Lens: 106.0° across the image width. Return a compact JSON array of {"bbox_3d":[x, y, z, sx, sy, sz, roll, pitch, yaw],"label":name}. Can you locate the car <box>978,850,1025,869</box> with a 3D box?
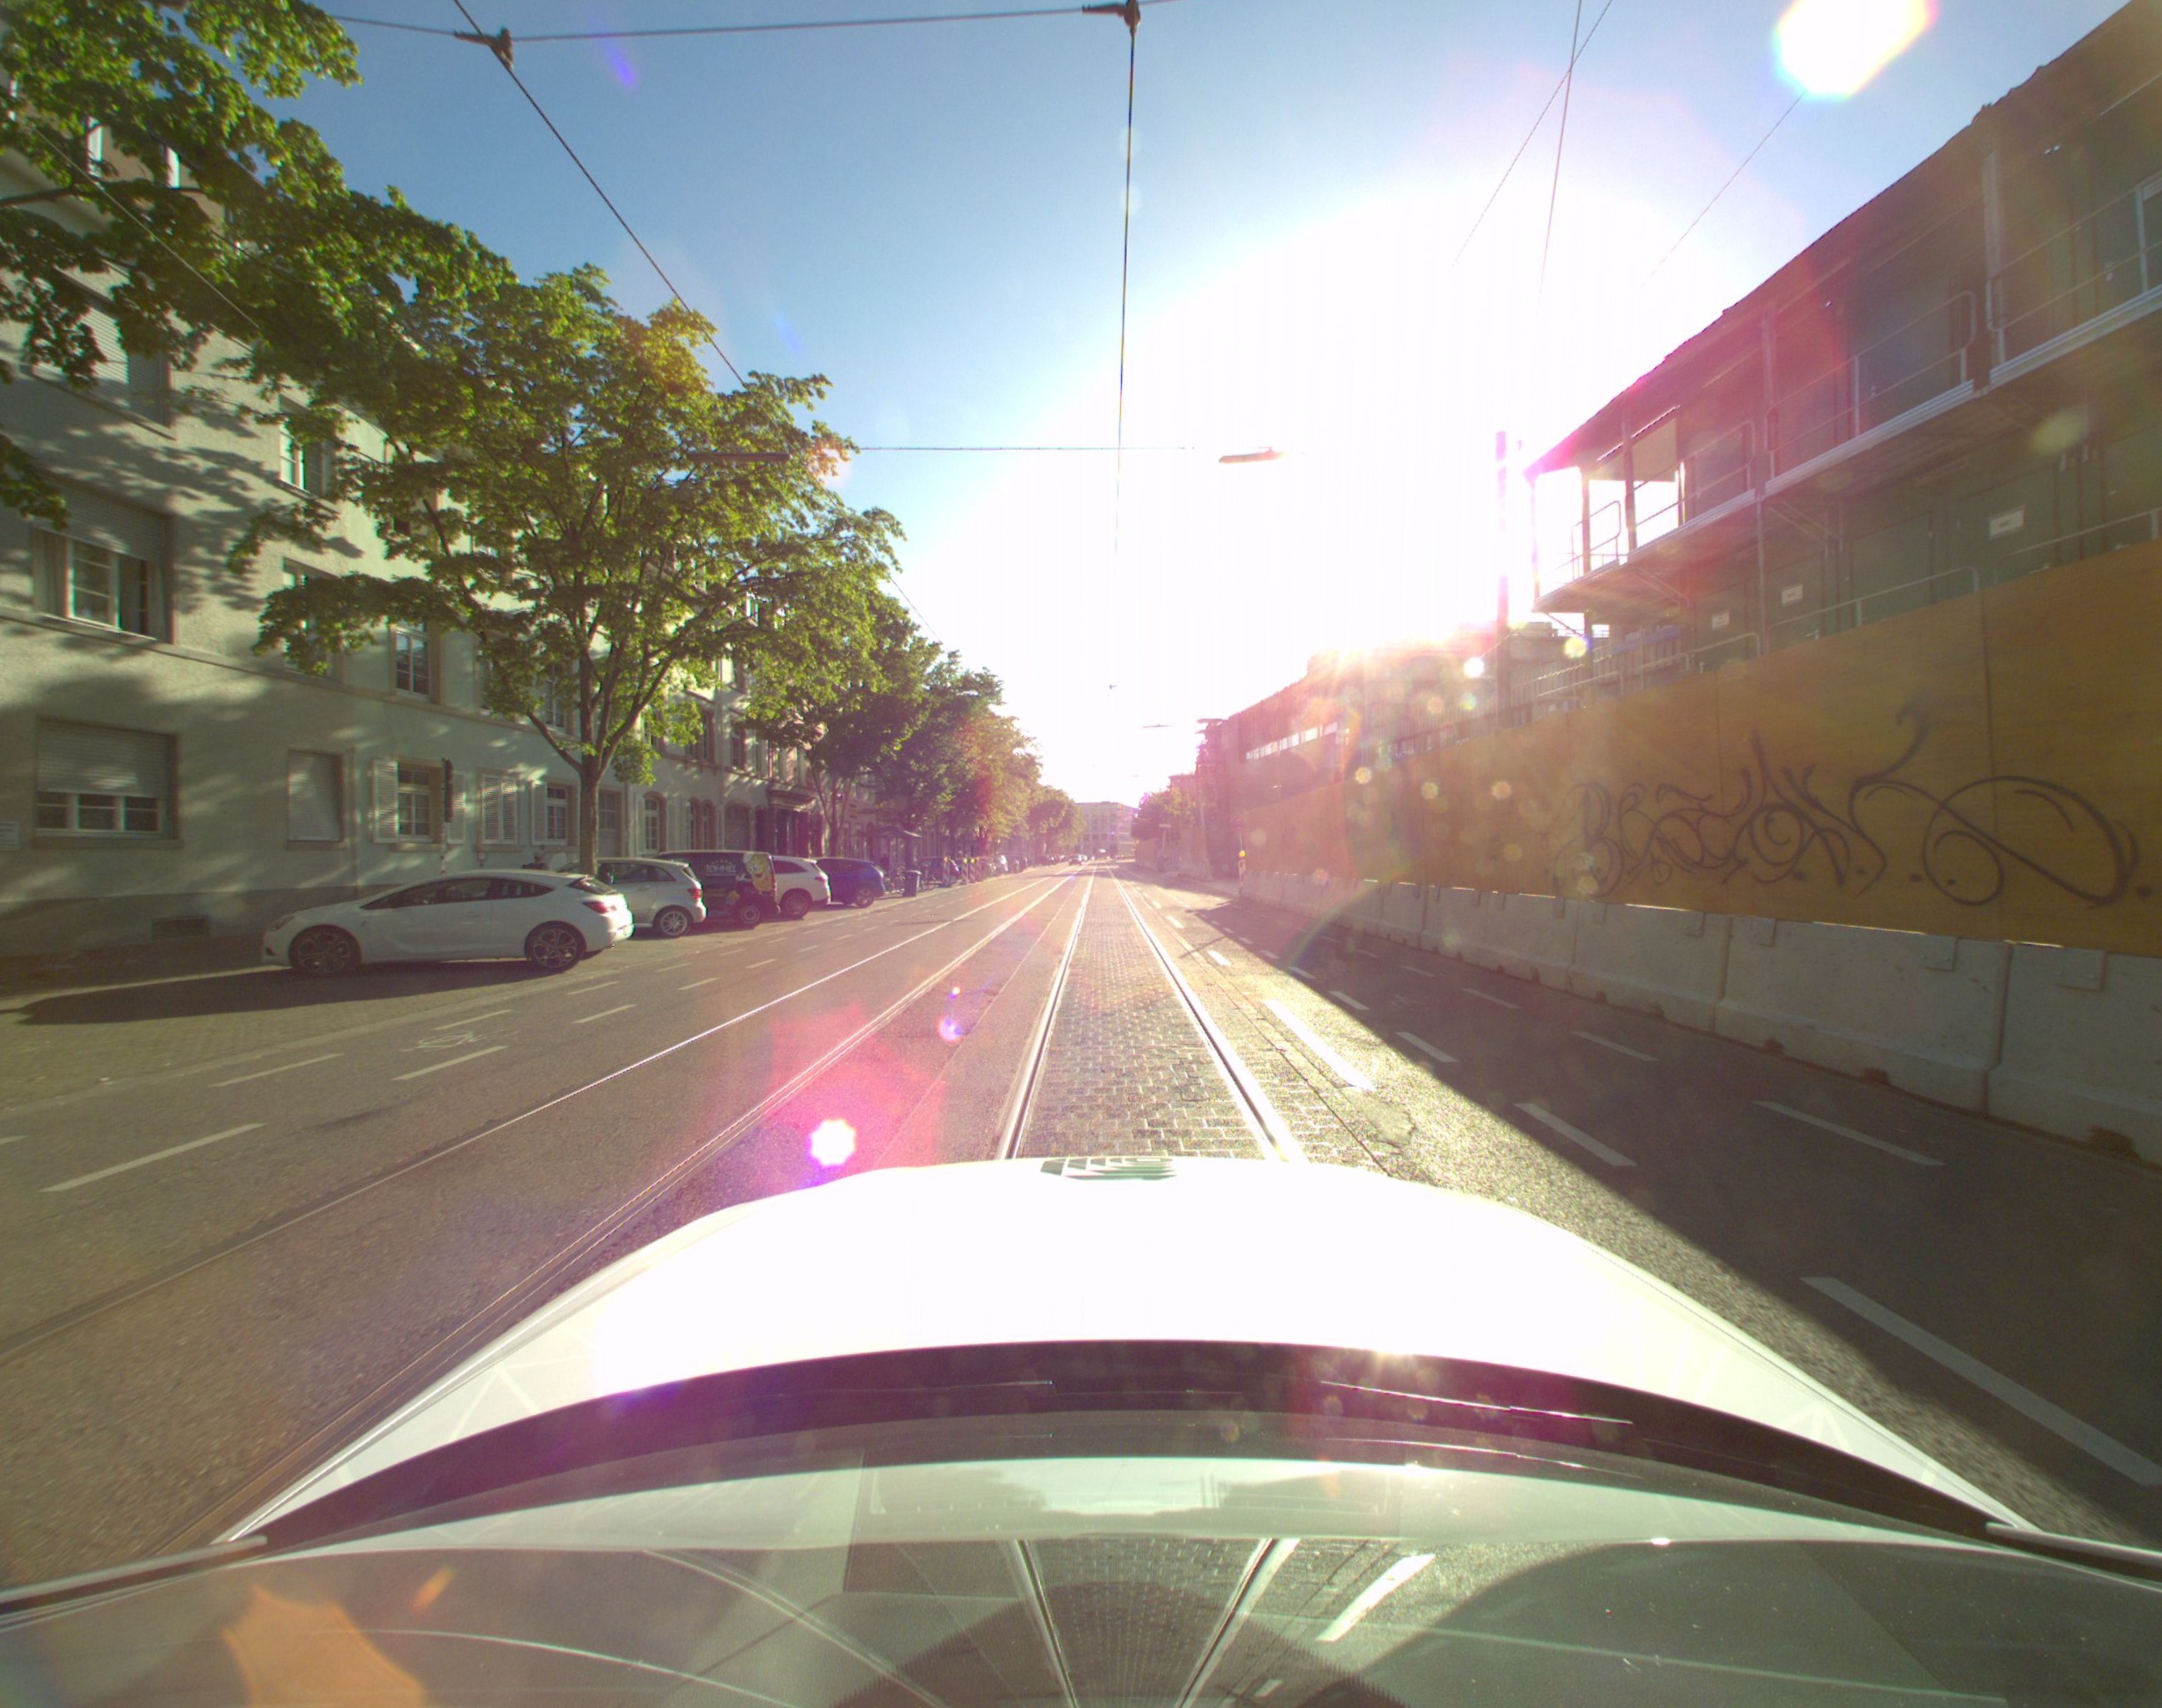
[{"bbox_3d":[-7.694,0.538,78.749,4.249,1.685,1.799,-1,0,-20],"label":"car"}]

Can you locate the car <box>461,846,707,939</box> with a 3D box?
[{"bbox_3d":[-9.866,0.749,16.511,4.010,1.656,1.794,2,0,-29],"label":"car"}]

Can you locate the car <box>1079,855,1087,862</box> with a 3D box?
[{"bbox_3d":[0.404,1.002,182.612,1.703,1.436,4.173,-1,0,2],"label":"car"}]

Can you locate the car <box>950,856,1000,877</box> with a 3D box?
[{"bbox_3d":[-7.982,0.944,61.310,3.381,1.493,1.599,1,0,-27],"label":"car"}]

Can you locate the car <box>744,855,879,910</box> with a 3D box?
[{"bbox_3d":[-8.836,0.896,26.846,3.919,1.609,1.556,-2,0,-36],"label":"car"}]

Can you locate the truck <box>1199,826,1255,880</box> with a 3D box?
[{"bbox_3d":[8.791,-0.059,49.498,2.509,2.909,5.511,-3,0,3],"label":"truck"}]

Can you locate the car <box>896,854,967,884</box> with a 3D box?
[{"bbox_3d":[-8.477,0.849,46.193,3.631,1.553,1.655,1,1,-25],"label":"car"}]

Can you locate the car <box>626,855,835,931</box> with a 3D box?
[{"bbox_3d":[-9.471,0.957,22.101,4.958,1.794,2.187,0,0,-32],"label":"car"}]

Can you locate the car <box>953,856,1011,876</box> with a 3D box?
[{"bbox_3d":[-7.791,0.923,64.209,4.124,1.512,1.826,1,0,-26],"label":"car"}]

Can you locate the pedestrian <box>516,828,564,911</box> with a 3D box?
[{"bbox_3d":[-12.259,0.350,18.467,0.641,1.838,0.625,-1,0,2],"label":"pedestrian"}]

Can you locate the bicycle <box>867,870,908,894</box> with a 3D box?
[{"bbox_3d":[-8.098,1.160,34.125,1.599,0.988,0.387,1,0,-10],"label":"bicycle"}]

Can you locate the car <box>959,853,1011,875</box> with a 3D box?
[{"bbox_3d":[-7.952,0.805,67.675,4.092,1.678,1.840,2,0,-2],"label":"car"}]

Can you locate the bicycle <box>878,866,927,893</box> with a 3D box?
[{"bbox_3d":[-7.830,1.114,35.800,1.959,1.079,0.569,2,0,3],"label":"bicycle"}]

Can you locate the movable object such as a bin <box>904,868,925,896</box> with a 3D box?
[{"bbox_3d":[-6.846,1.147,33.513,0.681,1.078,0.710,2,0,2],"label":"movable object such as a bin"}]

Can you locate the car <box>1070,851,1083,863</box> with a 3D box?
[{"bbox_3d":[-0.647,0.416,122.864,1.921,1.629,4.249,-4,1,0],"label":"car"}]

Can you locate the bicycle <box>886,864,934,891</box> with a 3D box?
[{"bbox_3d":[-7.788,1.086,37.130,1.994,1.087,0.568,4,0,3],"label":"bicycle"}]

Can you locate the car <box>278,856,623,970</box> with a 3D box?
[{"bbox_3d":[-9.264,0.861,12.376,3.646,1.530,1.875,2,-1,-19],"label":"car"}]

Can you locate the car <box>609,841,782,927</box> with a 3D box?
[{"bbox_3d":[-9.055,0.733,19.170,3.457,1.843,1.716,3,-3,-31],"label":"car"}]

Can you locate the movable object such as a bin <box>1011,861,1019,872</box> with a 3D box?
[{"bbox_3d":[-5.961,1.141,73.496,0.576,0.913,0.572,1,0,-15],"label":"movable object such as a bin"}]

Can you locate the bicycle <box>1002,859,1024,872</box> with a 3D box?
[{"bbox_3d":[-6.222,1.079,74.362,1.970,1.144,0.490,1,-1,-17],"label":"bicycle"}]

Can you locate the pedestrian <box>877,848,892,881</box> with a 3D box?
[{"bbox_3d":[-11.914,0.629,49.391,0.728,2.014,0.557,-1,0,2],"label":"pedestrian"}]

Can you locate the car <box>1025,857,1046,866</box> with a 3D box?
[{"bbox_3d":[-6.895,1.178,123.676,2.949,1.332,1.205,-1,0,-27],"label":"car"}]
